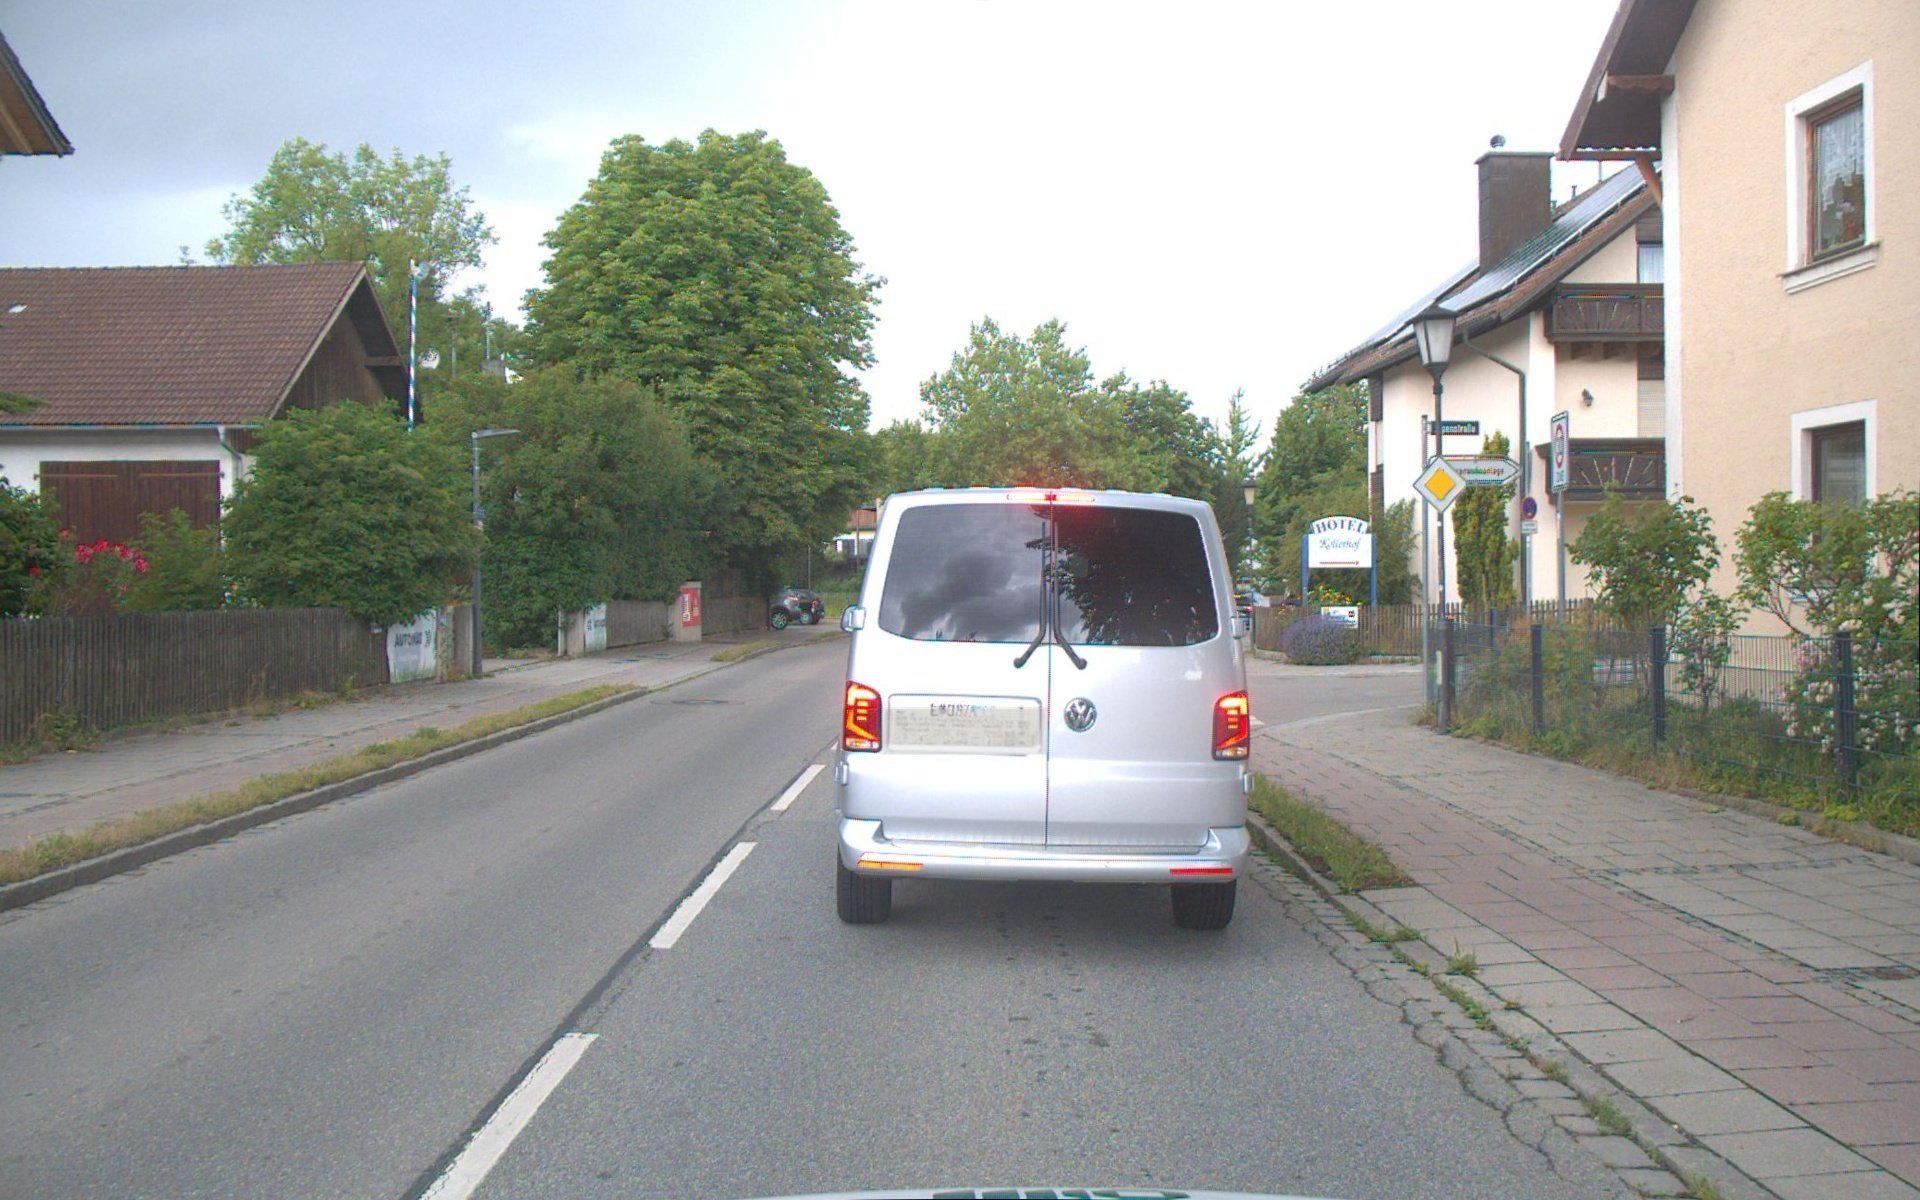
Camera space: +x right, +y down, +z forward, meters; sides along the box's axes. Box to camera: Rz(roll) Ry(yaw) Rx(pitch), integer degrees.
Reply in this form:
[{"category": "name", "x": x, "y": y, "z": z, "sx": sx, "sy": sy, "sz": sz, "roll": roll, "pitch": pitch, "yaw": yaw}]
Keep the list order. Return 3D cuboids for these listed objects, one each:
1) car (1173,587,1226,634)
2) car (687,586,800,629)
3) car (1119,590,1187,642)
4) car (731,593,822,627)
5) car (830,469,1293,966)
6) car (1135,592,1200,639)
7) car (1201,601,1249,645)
[{"category": "car", "x": 9.568, "y": 0.397, "z": 65.942, "sx": 1.841, "sy": 1.779, "sz": 4.084, "roll": -1, "pitch": 0, "yaw": 12}, {"category": "car", "x": -7.711, "y": 0.260, "z": 58.811, "sx": 3.913, "sy": 1.512, "sz": 1.996, "roll": 0, "pitch": 0, "yaw": -9}, {"category": "car", "x": 6.162, "y": 0.483, "z": 52.406, "sx": 1.841, "sy": 1.562, "sz": 3.924, "roll": 0, "pitch": 0, "yaw": 11}, {"category": "car", "x": -7.652, "y": 0.418, "z": 68.978, "sx": 3.683, "sy": 1.369, "sz": 1.579, "roll": 0, "pitch": 0, "yaw": -11}, {"category": "car", "x": 0.409, "y": 0.460, "z": 8.569, "sx": 1.843, "sy": 1.974, "sz": 3.920, "roll": 0, "pitch": 0, "yaw": 0}, {"category": "car", "x": 7.234, "y": 0.511, "z": 57.303, "sx": 1.841, "sy": 1.562, "sz": 3.924, "roll": 0, "pitch": 0, "yaw": 13}, {"category": "car", "x": 11.670, "y": 0.974, "z": 72.776, "sx": 1.841, "sy": 1.857, "sz": 3.924, "roll": 0, "pitch": 0, "yaw": 13}]
